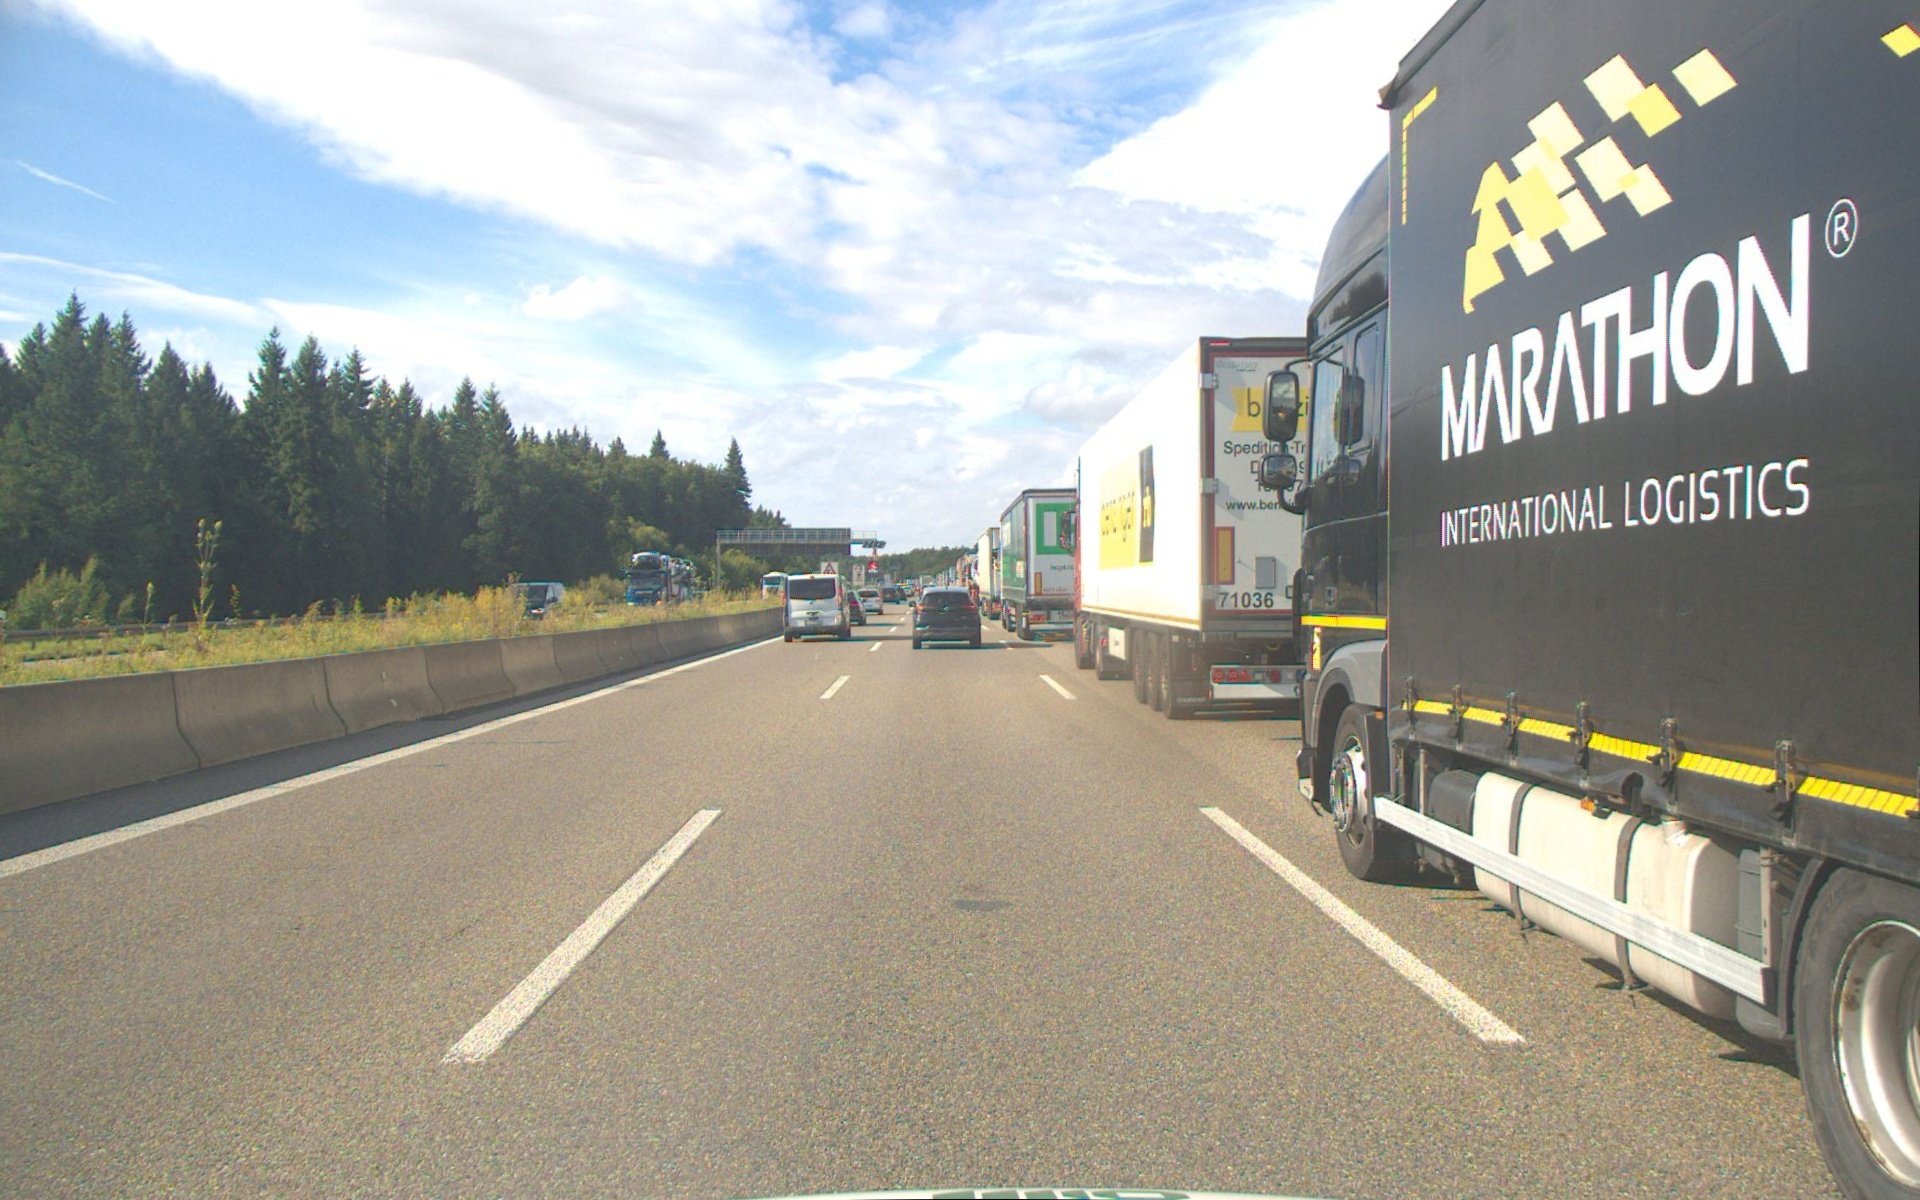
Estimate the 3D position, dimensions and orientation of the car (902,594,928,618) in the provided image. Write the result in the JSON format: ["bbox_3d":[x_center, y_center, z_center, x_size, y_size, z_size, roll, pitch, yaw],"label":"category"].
[{"bbox_3d":[-2.868,0.371,105.123,1.549,1.420,3.207,2,0,-2],"label":"car"}]

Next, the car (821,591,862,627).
[{"bbox_3d":[-4.906,0.362,68.871,1.469,1.420,3.475,2,0,-1],"label":"car"}]

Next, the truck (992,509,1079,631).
[{"bbox_3d":[2.539,-0.992,57.538,2.593,3.936,6.995,-1,0,-1],"label":"truck"}]

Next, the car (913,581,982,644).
[{"bbox_3d":[-0.345,0.302,43.344,1.662,1.509,4.159,2,0,-1],"label":"car"}]

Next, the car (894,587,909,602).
[{"bbox_3d":[-5.800,-0.535,163.489,1.406,1.333,3.532,2,0,-1],"label":"car"}]

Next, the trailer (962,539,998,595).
[{"bbox_3d":[1.572,-2.582,135.373,2.745,4.318,11.056,-1,0,0],"label":"trailer"}]

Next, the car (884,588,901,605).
[{"bbox_3d":[-5.780,-0.311,142.179,1.406,1.333,3.532,2,0,-1],"label":"car"}]

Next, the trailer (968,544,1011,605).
[{"bbox_3d":[1.848,-1.583,107.641,2.489,3.717,10.625,-1,0,-1],"label":"trailer"}]

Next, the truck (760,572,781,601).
[{"bbox_3d":[-22.114,-1.547,193.224,2.272,3.331,6.100,0,0,-4],"label":"truck"}]

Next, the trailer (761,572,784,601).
[{"bbox_3d":[-22.506,-1.589,198.679,2.276,3.342,10.866,0,0,-4],"label":"trailer"}]

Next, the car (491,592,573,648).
[{"bbox_3d":[-15.689,0.691,60.846,1.840,1.909,4.489,2,0,-1],"label":"car"}]

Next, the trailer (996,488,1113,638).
[{"bbox_3d":[2.640,-0.990,50.368,2.607,3.936,13.392,-1,0,-1],"label":"trailer"}]

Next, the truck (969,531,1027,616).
[{"bbox_3d":[1.917,-1.336,85.060,2.653,4.130,6.360,-1,0,-1],"label":"truck"}]

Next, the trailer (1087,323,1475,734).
[{"bbox_3d":[3.638,-0.715,22.704,2.734,4.007,13.068,0,0,0],"label":"trailer"}]

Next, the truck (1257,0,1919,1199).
[{"bbox_3d":[3.356,-0.590,5.238,2.685,4.109,10.199,0,0,-2],"label":"truck"}]

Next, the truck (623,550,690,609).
[{"bbox_3d":[-20.605,-1.342,112.956,2.774,3.753,11.129,-1,0,-1],"label":"truck"}]

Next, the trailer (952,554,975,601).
[{"bbox_3d":[0.331,-2.137,158.218,2.106,4.333,8.439,-1,0,0],"label":"trailer"}]

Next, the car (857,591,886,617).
[{"bbox_3d":[-4.979,0.213,93.731,1.469,1.420,3.475,2,0,-1],"label":"car"}]

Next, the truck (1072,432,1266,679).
[{"bbox_3d":[3.616,-0.734,29.953,2.744,4.007,5.825,0,0,0],"label":"truck"}]

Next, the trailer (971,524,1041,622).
[{"bbox_3d":[2.030,-1.244,77.946,2.648,4.153,12.942,-1,1,-1],"label":"trailer"}]

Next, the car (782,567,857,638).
[{"bbox_3d":[-4.277,0.061,51.165,1.894,2.013,5.097,2,0,-1],"label":"car"}]

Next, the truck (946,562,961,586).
[{"bbox_3d":[-0.875,-3.635,231.683,1.953,3.105,4.981,2,0,0],"label":"truck"}]

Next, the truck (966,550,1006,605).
[{"bbox_3d":[1.739,-1.499,114.373,2.482,3.646,6.728,-1,0,-1],"label":"truck"}]

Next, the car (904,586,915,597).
[{"bbox_3d":[-6.727,-1.135,220.014,1.333,1.324,3.084,2,0,-1],"label":"car"}]

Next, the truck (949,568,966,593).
[{"bbox_3d":[-0.369,-2.419,204.449,1.953,2.983,4.981,2,0,0],"label":"truck"}]
